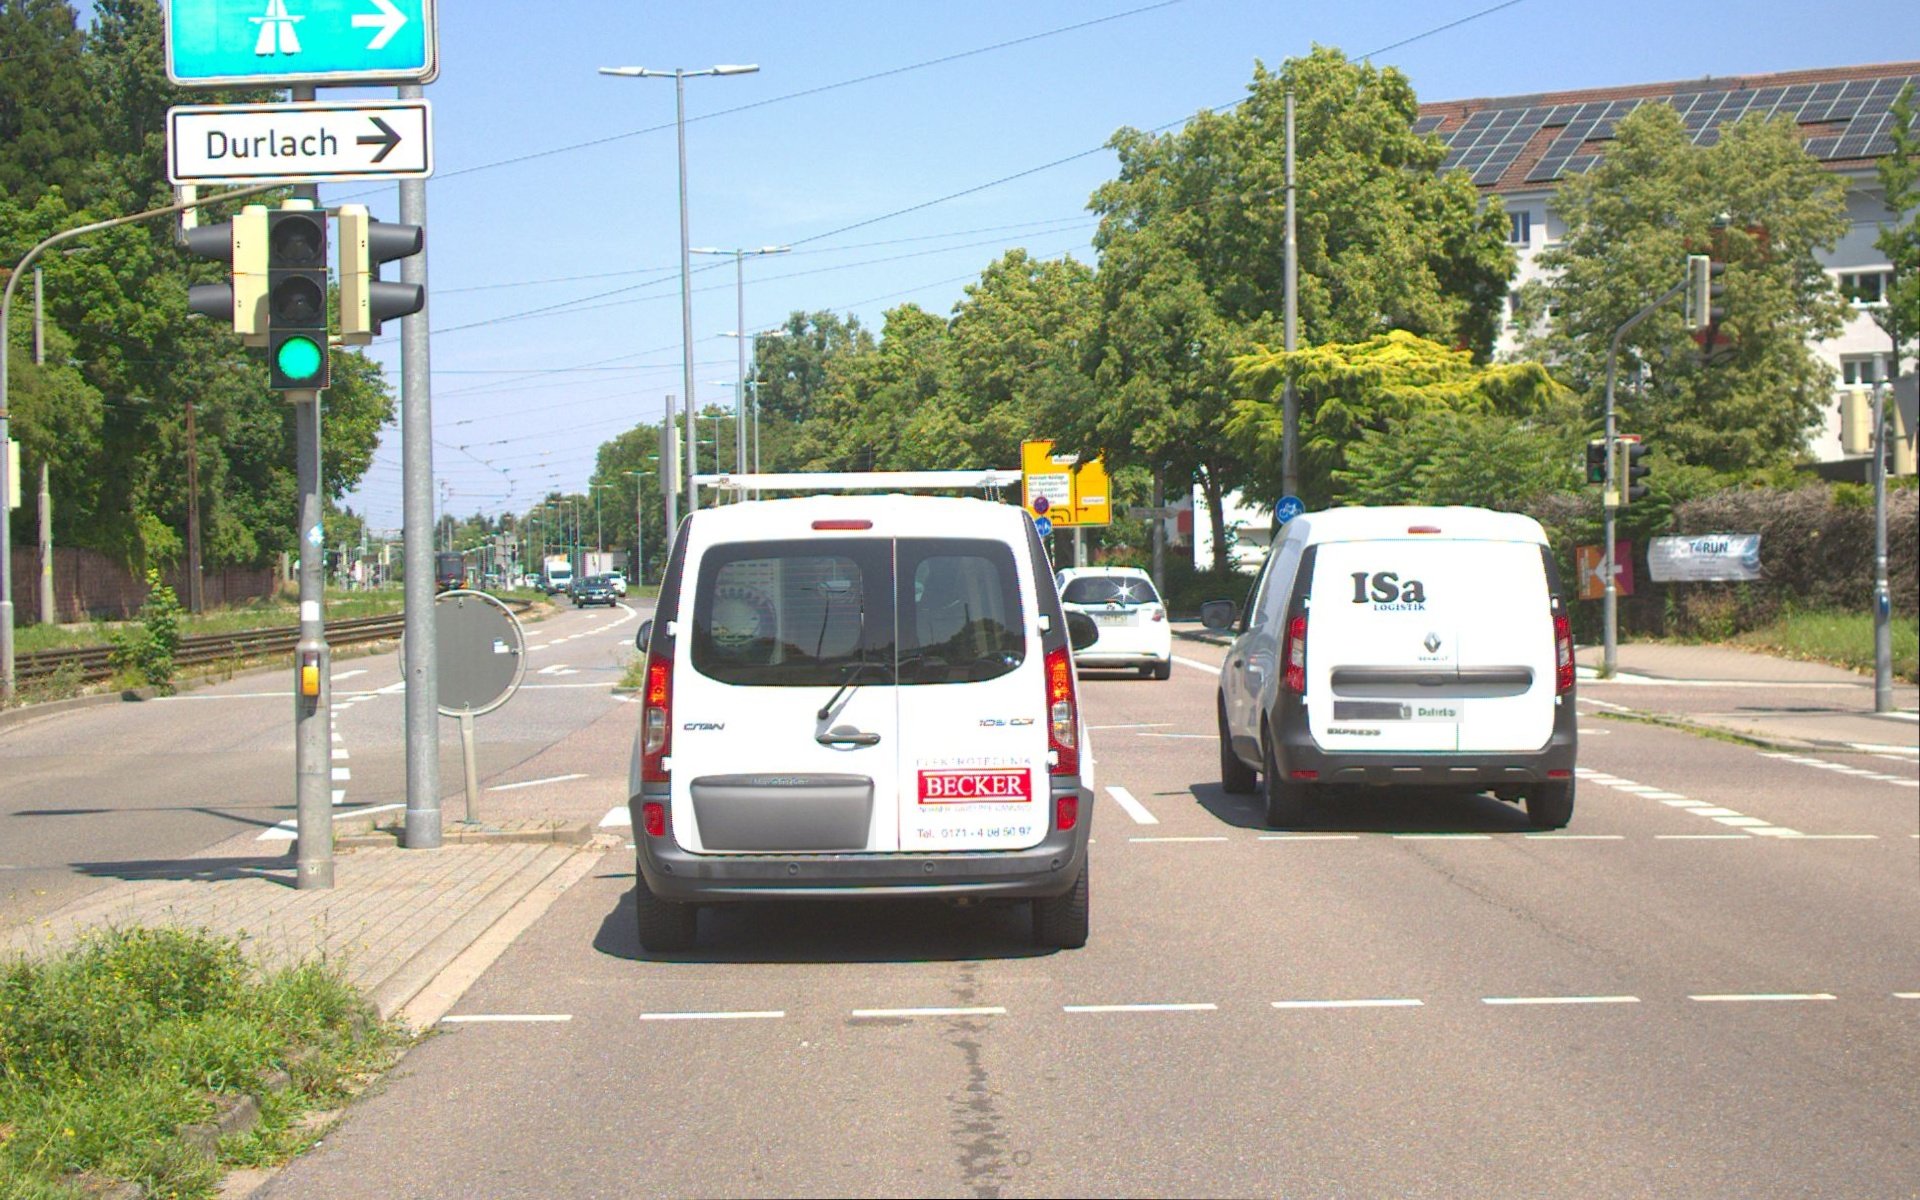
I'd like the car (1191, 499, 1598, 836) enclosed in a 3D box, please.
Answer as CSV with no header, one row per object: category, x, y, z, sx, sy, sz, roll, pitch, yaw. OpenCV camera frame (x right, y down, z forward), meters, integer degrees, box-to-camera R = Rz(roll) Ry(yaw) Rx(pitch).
car,2.459,0.342,20.395,1.727,1.782,4.065,1,0,-2

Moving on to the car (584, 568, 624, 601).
car,-17.202,-0.779,166.250,1.697,1.507,4.066,-1,1,-3

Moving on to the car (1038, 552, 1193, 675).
car,2.096,0.150,47.229,1.835,1.563,4.000,1,1,-1

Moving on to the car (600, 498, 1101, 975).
car,-0.449,0.469,14.755,1.821,1.734,4.396,0,1,-1
